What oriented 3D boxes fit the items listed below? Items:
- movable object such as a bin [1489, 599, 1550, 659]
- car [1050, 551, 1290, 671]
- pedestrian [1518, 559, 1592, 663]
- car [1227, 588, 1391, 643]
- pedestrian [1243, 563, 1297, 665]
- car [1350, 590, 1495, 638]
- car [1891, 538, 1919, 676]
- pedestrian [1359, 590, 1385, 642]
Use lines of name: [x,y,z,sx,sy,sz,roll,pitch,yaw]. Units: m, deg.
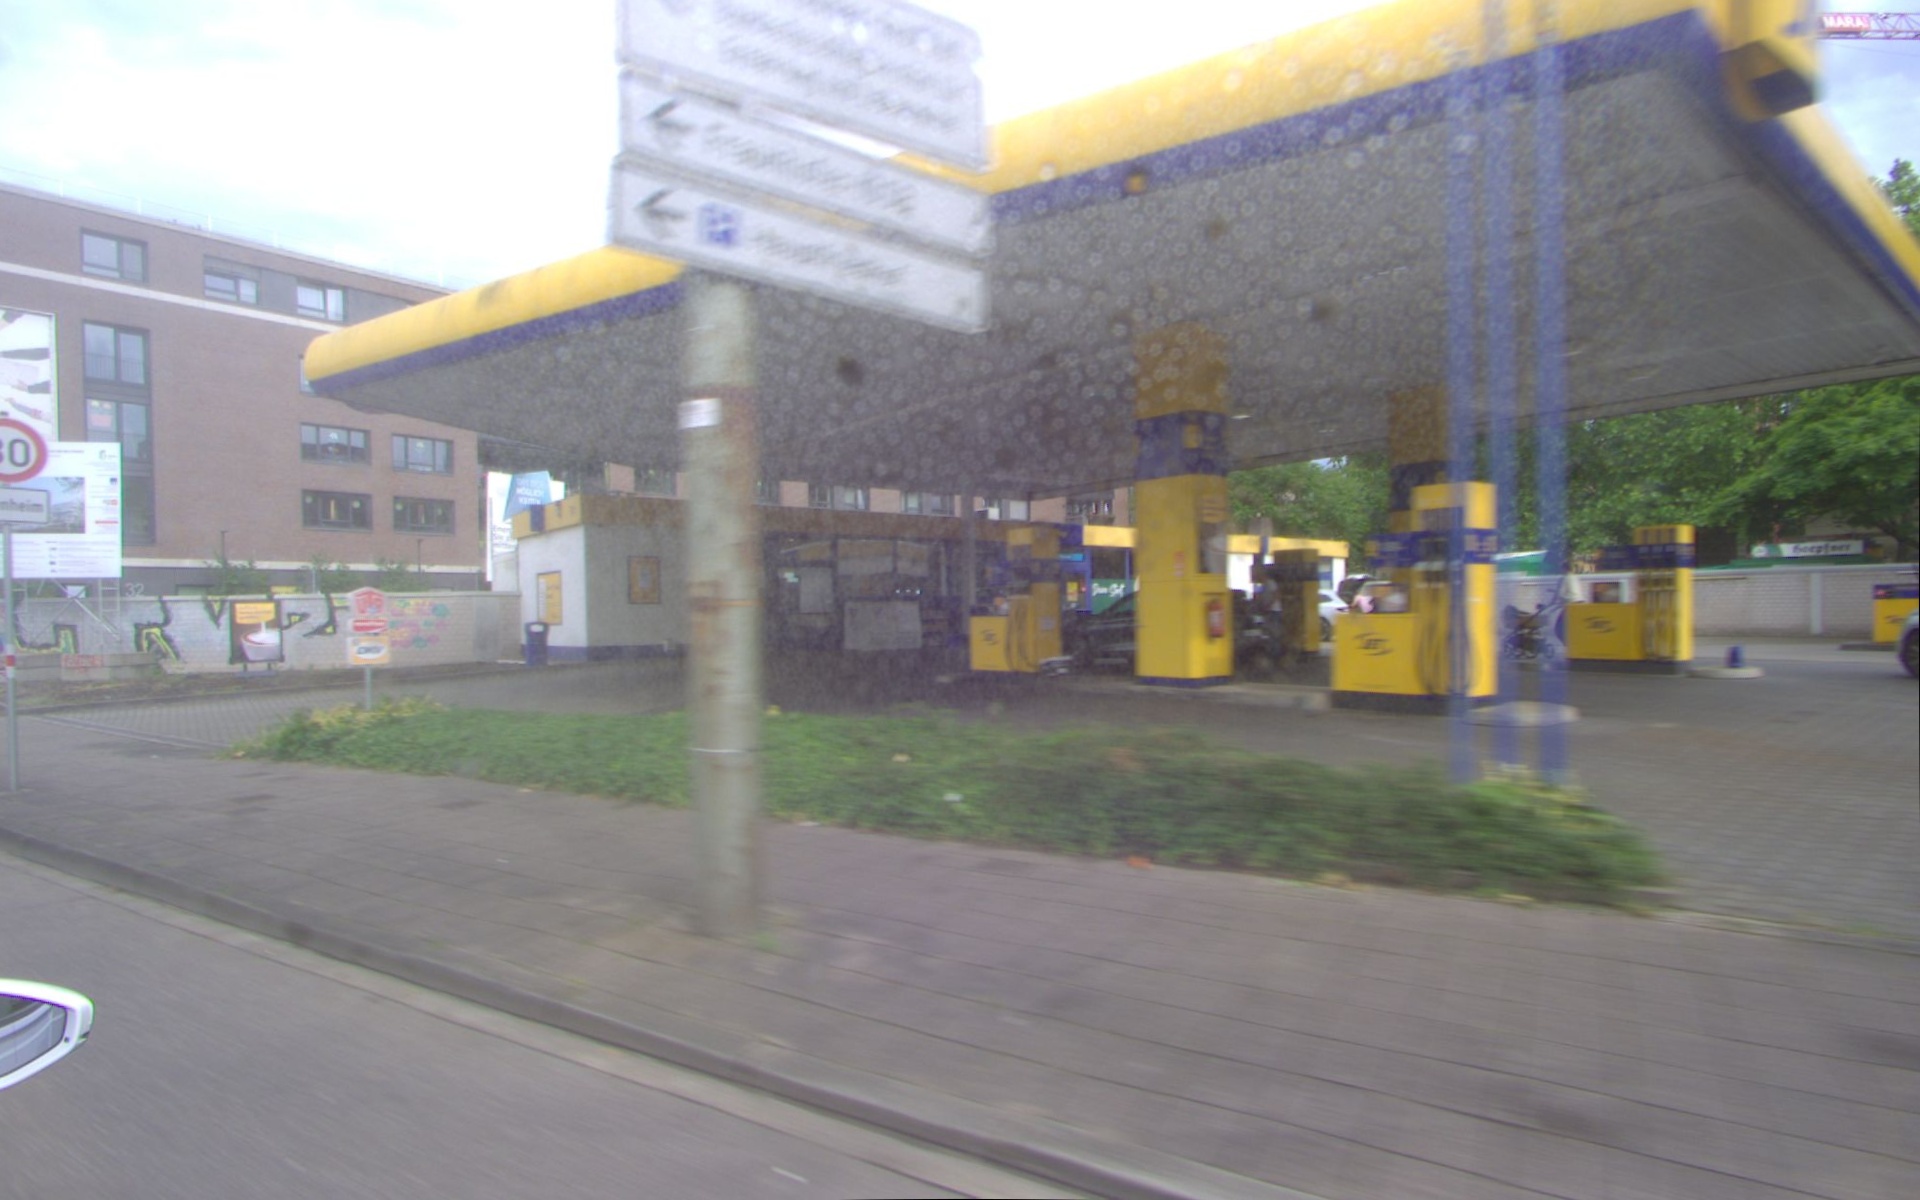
movable object such as a bin: [10.610,0.532,19.014,0.593,1.080,0.794,0,3,-15]
car: [3.868,0.232,19.007,1.804,2.014,4.218,-2,0,-41]
pedestrian: [10.834,0.179,18.251,0.593,1.845,0.968,0,3,-15]
car: [11.196,0.430,32.422,1.920,1.617,4.721,0,1,-39]
pedestrian: [5.658,0.256,18.288,0.699,1.810,0.623,0,-1,-35]
car: [16.659,0.460,36.249,1.936,1.607,4.389,0,1,-38]
car: [13.566,0.128,11.663,1.950,1.868,4.521,-1,2,13]
pedestrian: [12.570,0.484,30.571,0.492,1.564,0.547,-1,2,-35]
